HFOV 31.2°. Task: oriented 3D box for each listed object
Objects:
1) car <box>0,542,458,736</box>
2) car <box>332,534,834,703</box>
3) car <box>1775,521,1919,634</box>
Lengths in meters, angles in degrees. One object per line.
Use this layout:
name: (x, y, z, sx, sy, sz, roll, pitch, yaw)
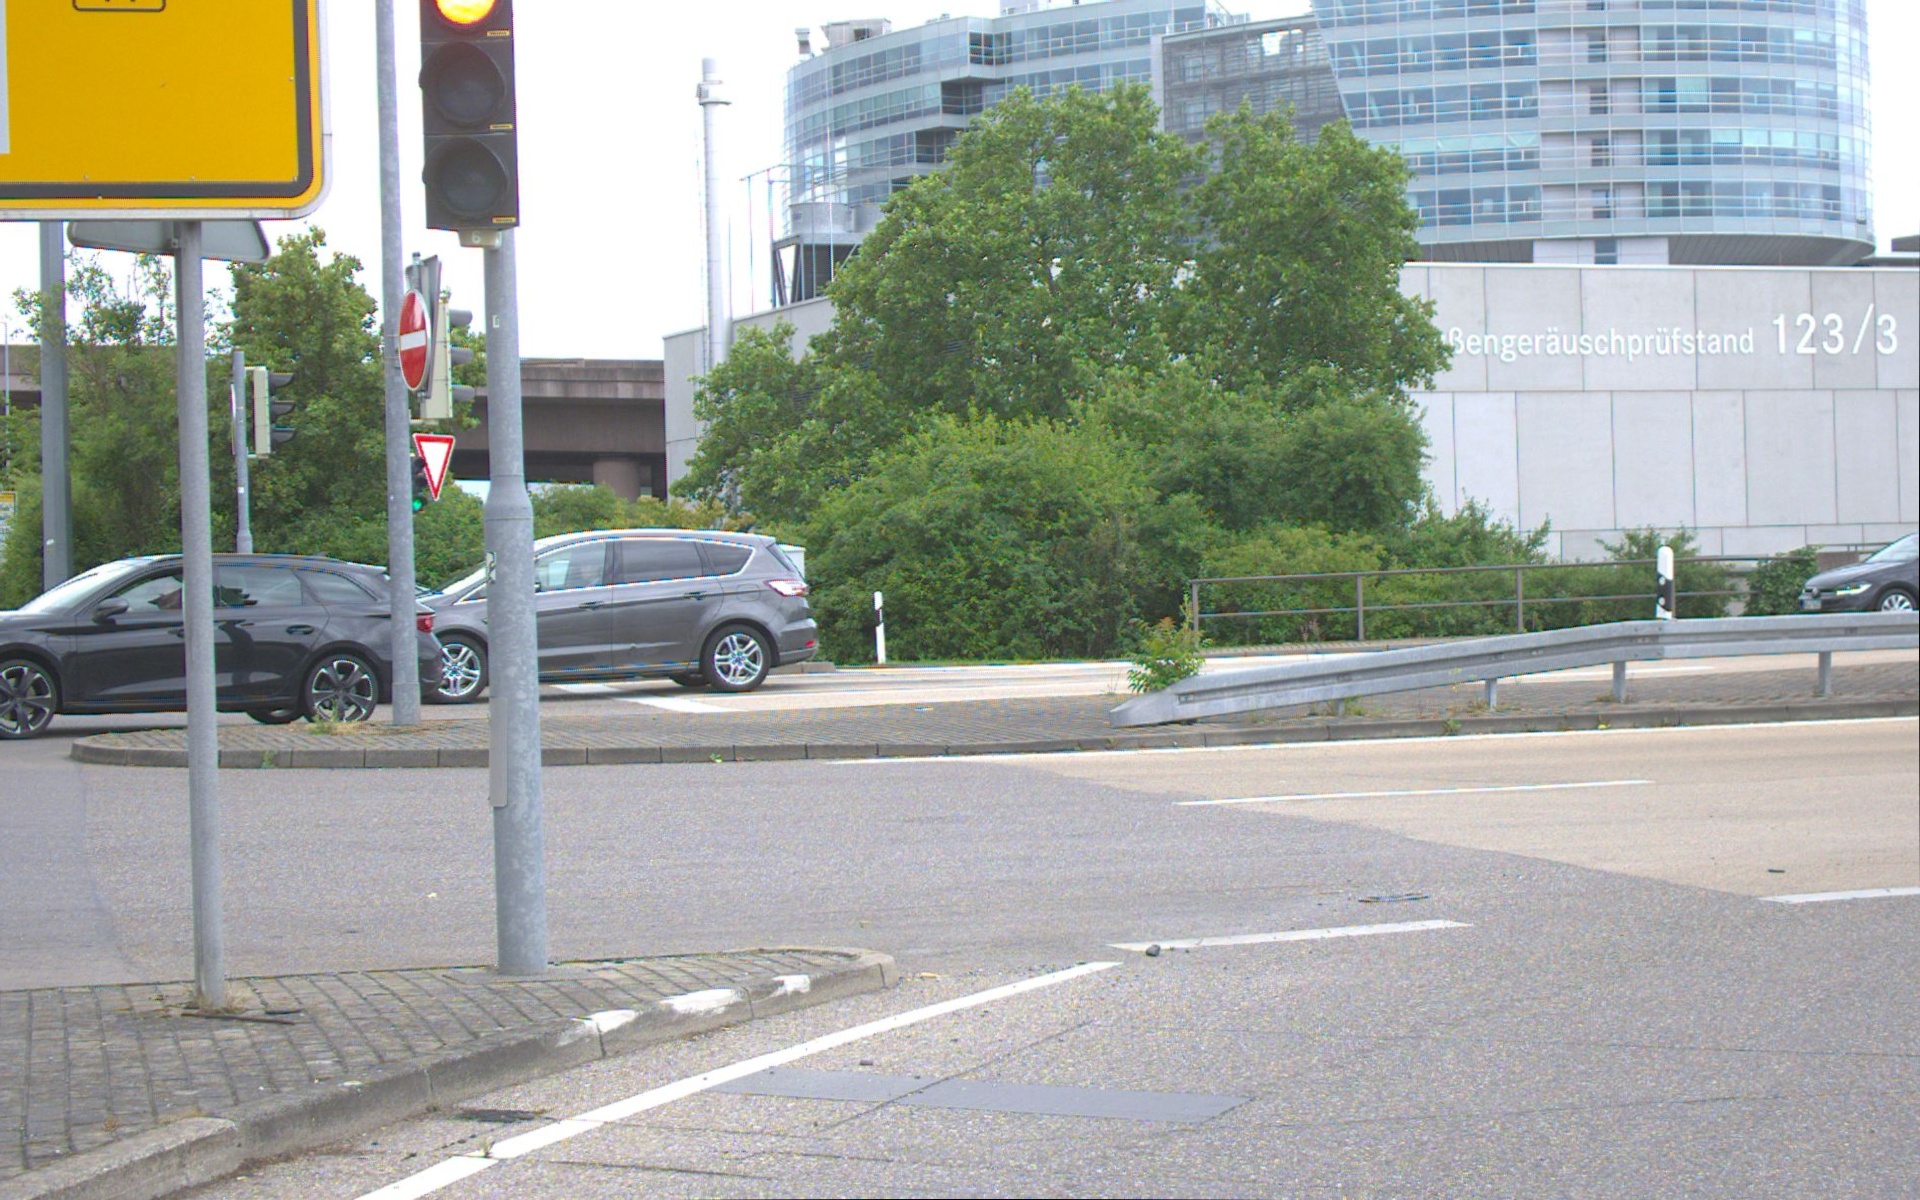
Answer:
car: (-6.654, 0.279, 28.270, 4.605, 1.452, 1.956, -1, 2, -31)
car: (-3.787, 0.143, 34.476, 4.677, 1.566, 1.956, -1, 2, -20)
car: (13.504, -0.370, 47.292, 3.979, 1.416, 1.916, -2, 2, -13)
